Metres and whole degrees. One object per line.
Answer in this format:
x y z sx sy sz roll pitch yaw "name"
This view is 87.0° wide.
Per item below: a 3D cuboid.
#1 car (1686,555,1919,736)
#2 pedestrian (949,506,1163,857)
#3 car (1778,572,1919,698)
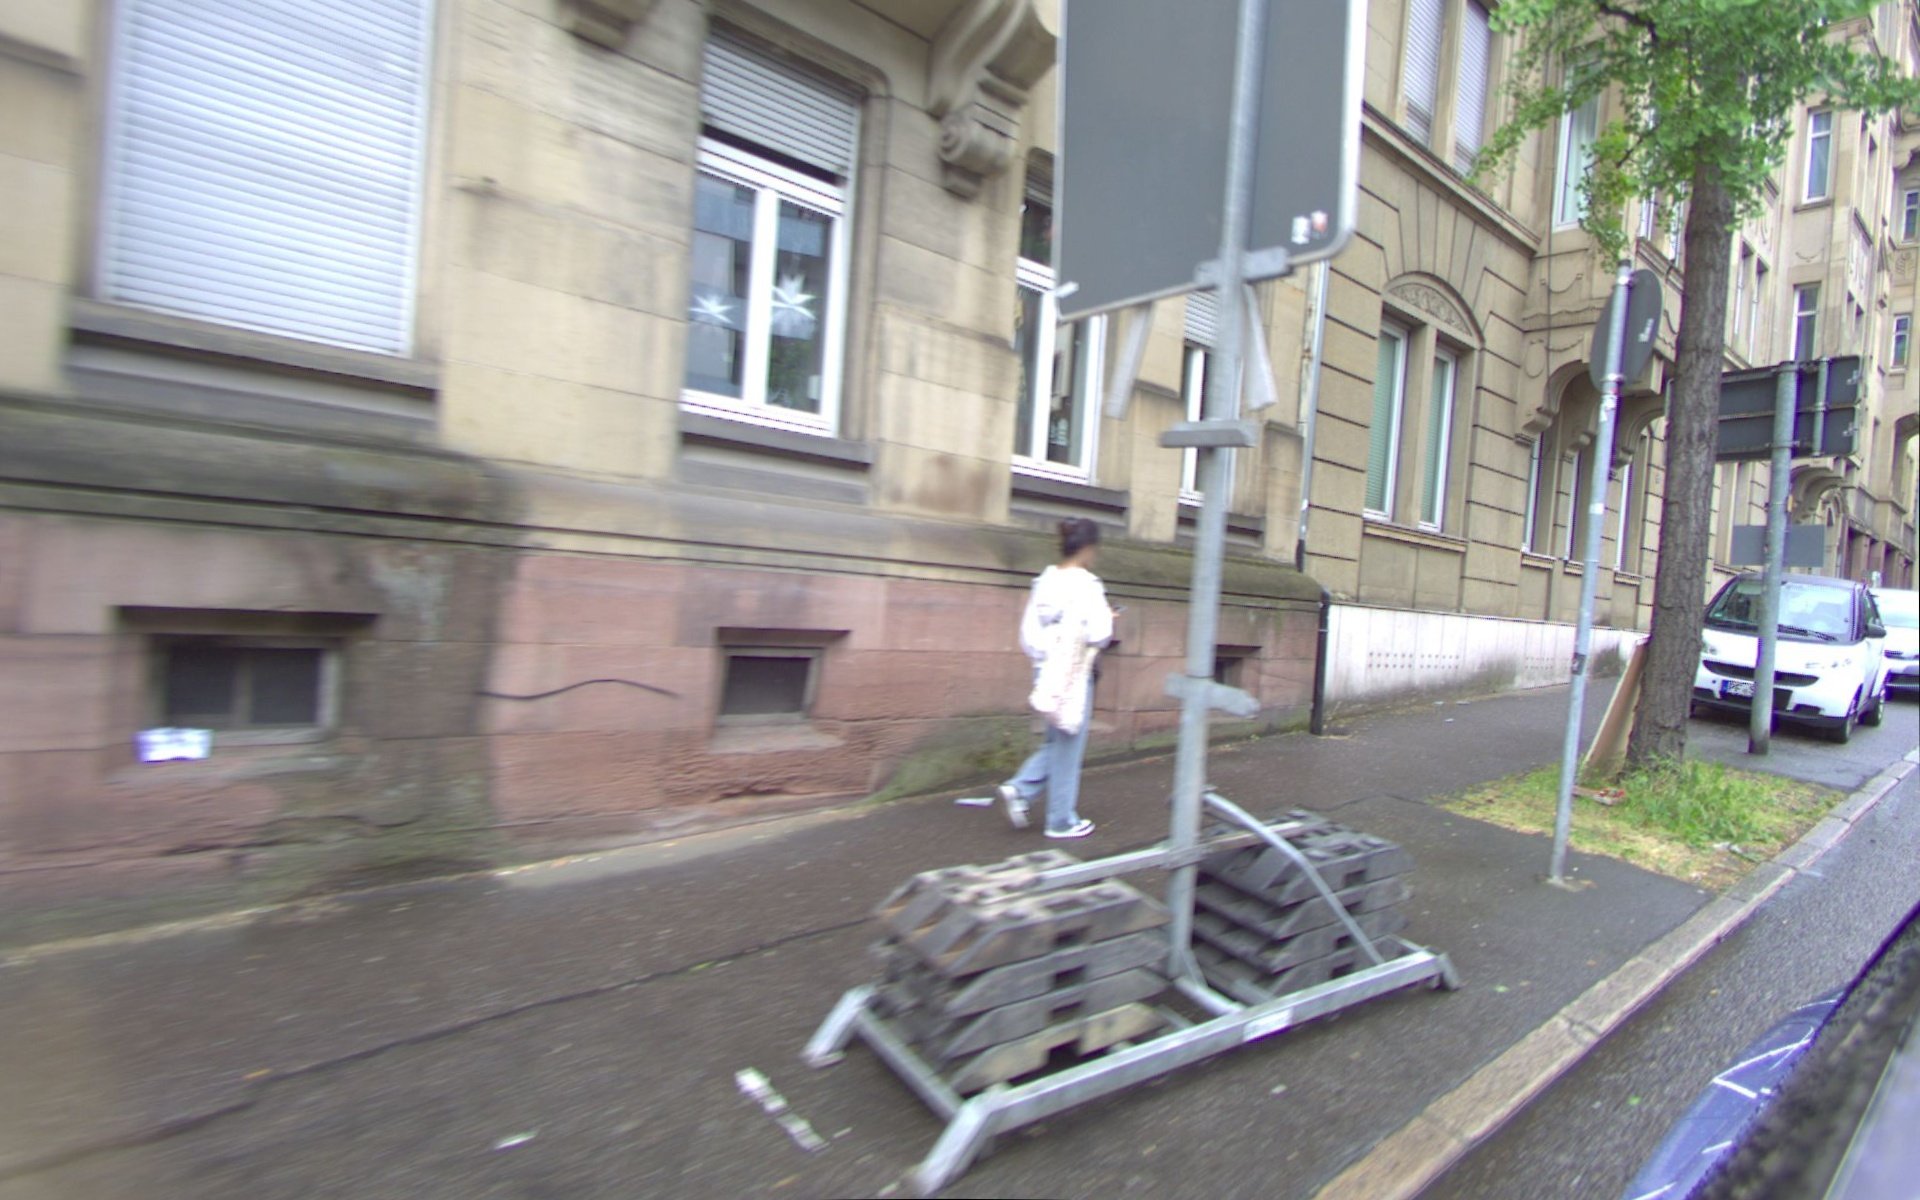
8.984 0.393 10.711 2.923 1.561 1.303 0 7 -40 "car"
0.457 0.343 4.886 0.681 1.526 0.633 0 6 -40 "pedestrian"
13.405 0.446 14.533 3.929 1.468 1.765 0 7 -40 "car"
